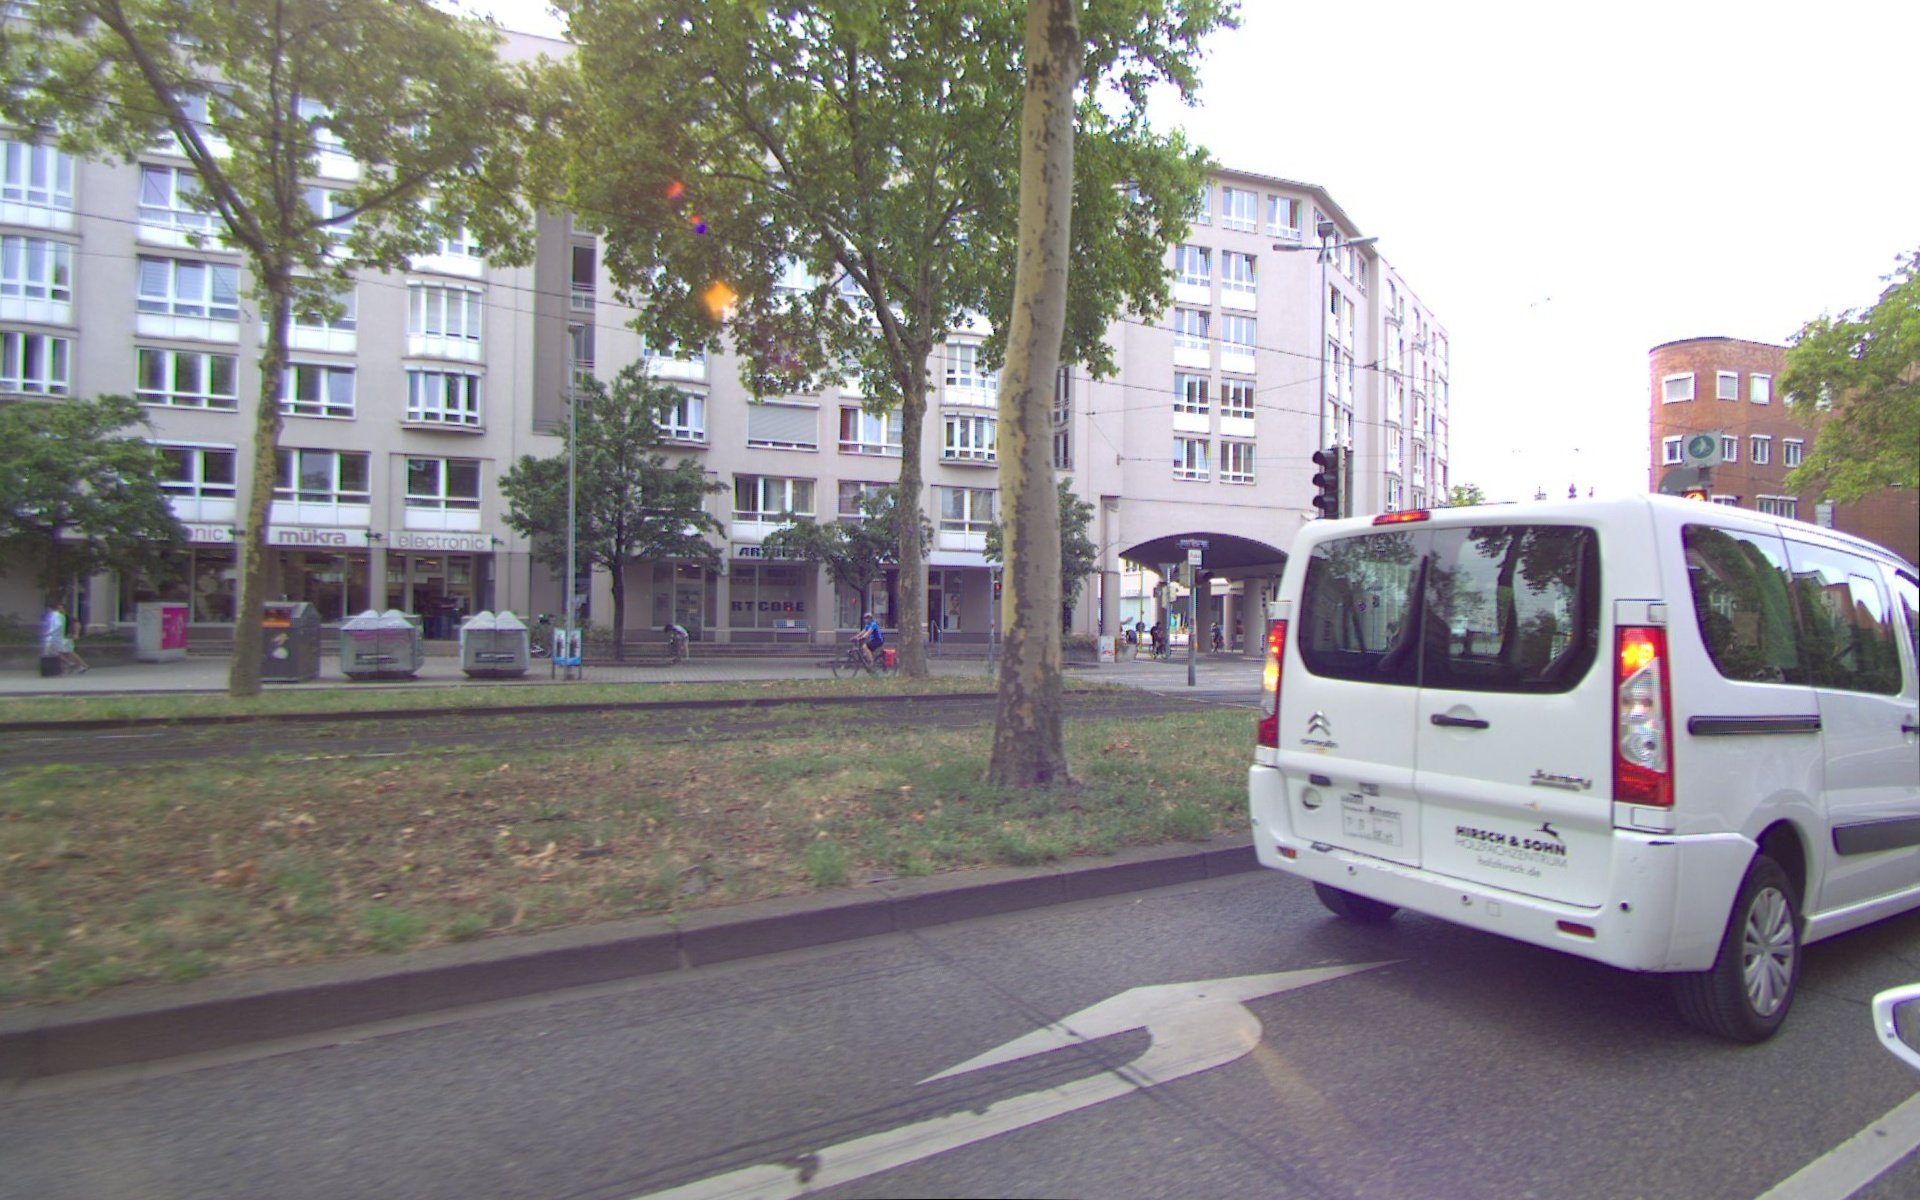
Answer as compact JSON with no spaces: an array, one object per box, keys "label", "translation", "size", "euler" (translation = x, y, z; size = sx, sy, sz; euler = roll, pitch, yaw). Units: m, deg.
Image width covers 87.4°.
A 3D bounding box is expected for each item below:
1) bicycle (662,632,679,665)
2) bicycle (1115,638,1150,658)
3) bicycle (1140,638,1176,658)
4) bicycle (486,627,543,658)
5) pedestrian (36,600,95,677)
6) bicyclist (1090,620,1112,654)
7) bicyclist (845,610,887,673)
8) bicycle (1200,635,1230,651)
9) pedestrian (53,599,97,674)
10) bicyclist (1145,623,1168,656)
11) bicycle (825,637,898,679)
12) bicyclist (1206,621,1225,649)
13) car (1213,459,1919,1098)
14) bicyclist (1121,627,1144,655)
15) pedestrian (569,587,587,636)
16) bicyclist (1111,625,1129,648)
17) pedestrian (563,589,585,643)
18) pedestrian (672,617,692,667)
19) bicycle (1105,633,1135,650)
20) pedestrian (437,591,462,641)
[{"label":"bicycle","translation":[-8.839,1.479,30.603],"size":[0.433,0.956,1.626],"euler":[1,-1,-18]},{"label":"bicycle","translation":[8.240,2.281,48.012],"size":[0.753,0.923,2.179],"euler":[1,-1,-16]},{"label":"bicycle","translation":[9.443,2.280,47.972],"size":[0.753,0.923,2.179],"euler":[1,-1,-16]},{"label":"bicycle","translation":[-14.071,1.350,31.776],"size":[1.609,0.956,0.438],"euler":[1,-1,-23]},{"label":"pedestrian","translation":[-20.487,0.882,23.015],"size":[0.872,1.728,0.551],"euler":[1,-1,-26]},{"label":"bicyclist","translation":[6.895,1.797,49.197],"size":[0.755,1.635,0.879],"euler":[1,-1,-16]},{"label":"bicyclist","translation":[-2.560,1.120,27.354],"size":[0.940,1.695,0.687],"euler":[1,-1,-26]},{"label":"bicycle","translation":[14.414,2.426,56.825],"size":[0.570,0.847,1.978],"euler":[1,-1,-22]},{"label":"pedestrian","translation":[-20.751,0.847,23.552],"size":[0.618,1.728,0.551],"euler":[1,-1,-26]},{"label":"bicyclist","translation":[9.418,1.881,48.073],"size":[0.755,1.559,0.879],"euler":[1,-1,-16]},{"label":"bicycle","translation":[-2.665,1.557,27.294],"size":[1.853,1.106,0.688],"euler":[1,-1,-27]},{"label":"bicyclist","translation":[14.437,1.961,56.738],"size":[0.574,1.583,1.029],"euler":[1,-1,-22]},{"label":"car","translation":[3.770,0.593,5.172],"size":[4.898,1.951,1.922],"euler":[1,-1,-31]},{"label":"bicyclist","translation":[8.235,1.942,48.057],"size":[0.755,1.321,0.879],"euler":[1,-1,-16]},{"label":"pedestrian","translation":[-12.864,0.385,33.834],"size":[0.540,1.627,0.569],"euler":[1,-1,-21]},{"label":"bicyclist","translation":[10.608,2.421,66.616],"size":[0.698,1.545,0.938],"euler":[1,-1,-36]},{"label":"pedestrian","translation":[-13.250,0.555,34.480],"size":[0.682,1.833,0.768],"euler":[1,-1,-21]},{"label":"pedestrian","translation":[-8.689,1.312,31.390],"size":[0.526,1.550,0.512],"euler":[1,-1,-22]},{"label":"bicycle","translation":[10.593,2.764,66.625],"size":[0.706,1.062,2.085],"euler":[1,-1,-35]},{"label":"pedestrian","translation":[-17.240,0.544,33.932],"size":[0.650,1.694,0.635],"euler":[1,-1,-21]}]
